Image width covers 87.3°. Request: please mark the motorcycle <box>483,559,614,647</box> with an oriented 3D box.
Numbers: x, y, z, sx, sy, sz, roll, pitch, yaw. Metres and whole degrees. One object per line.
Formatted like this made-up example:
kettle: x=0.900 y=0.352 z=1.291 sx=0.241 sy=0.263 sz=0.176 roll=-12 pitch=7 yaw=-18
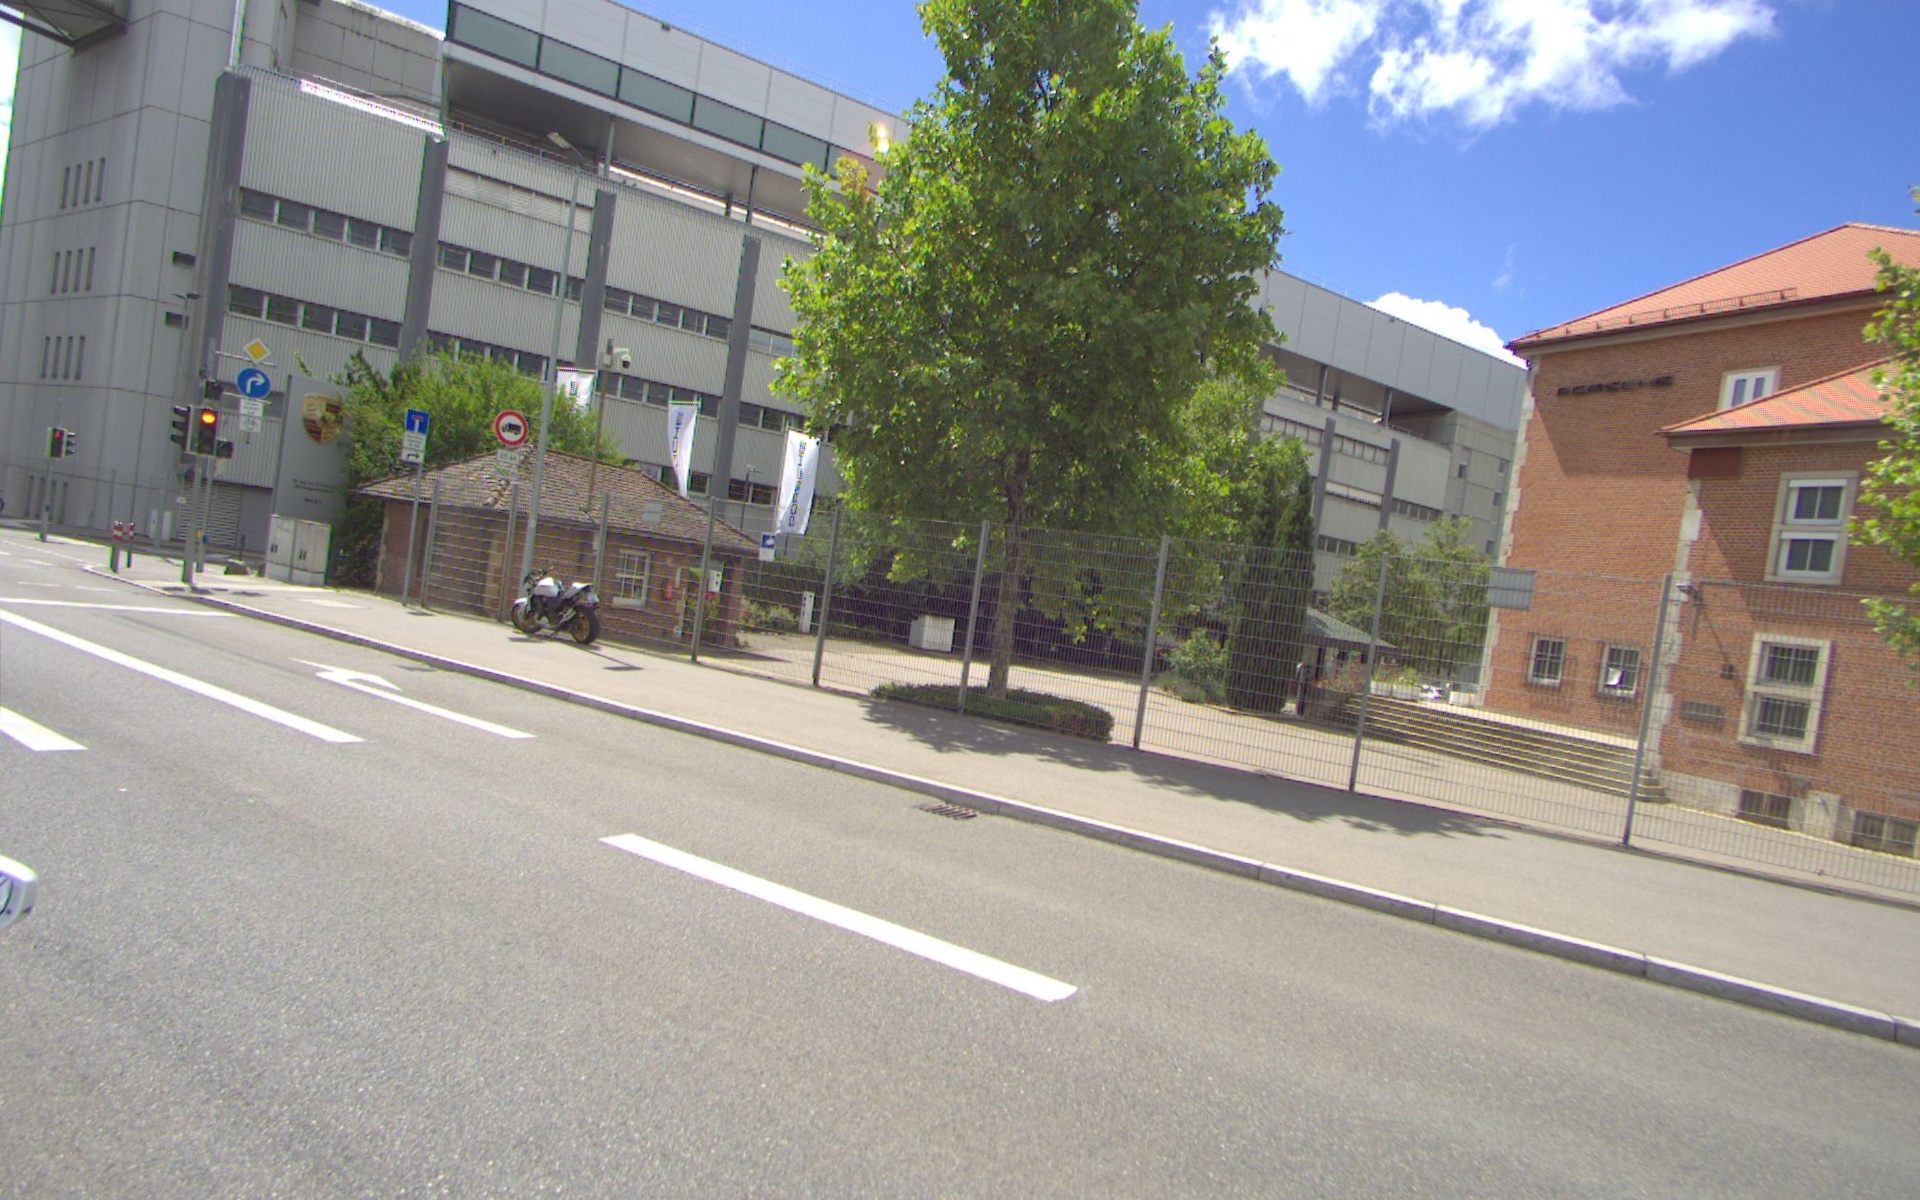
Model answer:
motorcycle: x=-6.745 y=0.037 z=16.462 sx=2.110 sy=1.173 sz=0.693 roll=7 pitch=2 yaw=28
